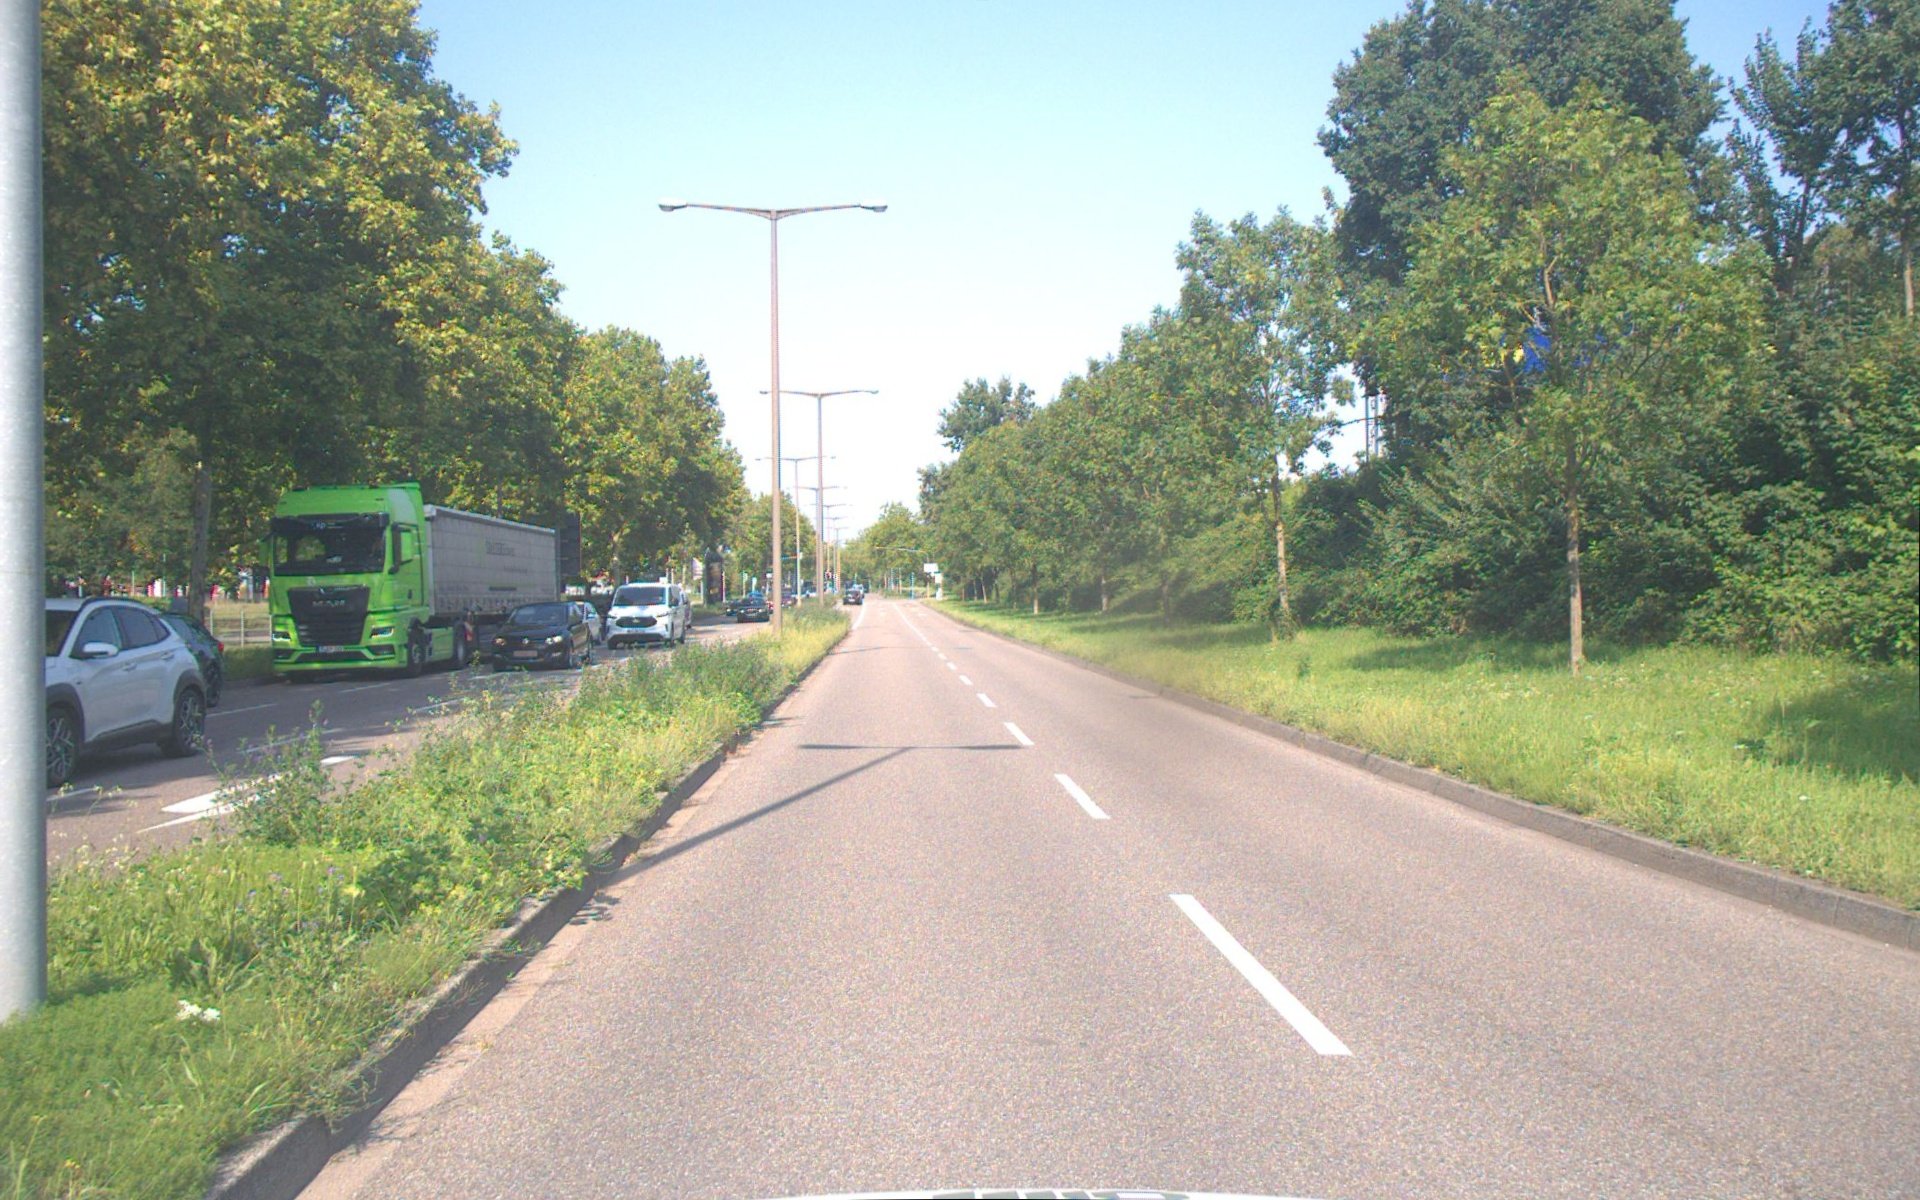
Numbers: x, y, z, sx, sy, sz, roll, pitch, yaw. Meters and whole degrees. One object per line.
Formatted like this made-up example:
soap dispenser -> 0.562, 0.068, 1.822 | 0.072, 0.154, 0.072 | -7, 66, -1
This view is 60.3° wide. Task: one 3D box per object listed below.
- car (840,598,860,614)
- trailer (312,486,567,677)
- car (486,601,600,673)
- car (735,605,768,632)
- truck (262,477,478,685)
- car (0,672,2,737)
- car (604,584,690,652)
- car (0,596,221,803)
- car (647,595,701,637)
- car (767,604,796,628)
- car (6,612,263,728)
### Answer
car -> -10.722, 0.574, 161.626 | 1.657, 1.512, 4.000 | -1, 0, 0
trailer -> -12.507, -0.354, 41.457 | 2.581, 3.888, 13.803 | -2, 0, -3
car -> -9.096, 0.780, 36.319 | 1.582, 1.423, 3.856 | -2, 0, -2
car -> -12.628, 1.120, 100.183 | 1.712, 1.505, 4.582 | -2, 0, -5
truck -> -12.152, -0.351, 34.622 | 2.556, 3.886, 5.887 | -2, 0, -3
car -> -11.685, 0.616, 16.433 | 1.669, 1.921, 4.746 | -2, 0, -2
car -> -9.753, 0.547, 51.924 | 1.954, 1.988, 5.032 | -1, 0, -3
car -> -8.159, 0.795, 14.448 | 1.661, 1.555, 4.137 | -2, 0, -3
car -> -13.968, 0.782, 81.131 | 1.945, 1.891, 4.966 | -2, 0, -3
car -> -13.404, 1.218, 124.422 | 1.915, 1.754, 4.584 | -1, 0, -3
car -> -11.744, 0.931, 23.883 | 1.614, 1.435, 4.477 | -2, 0, -3
